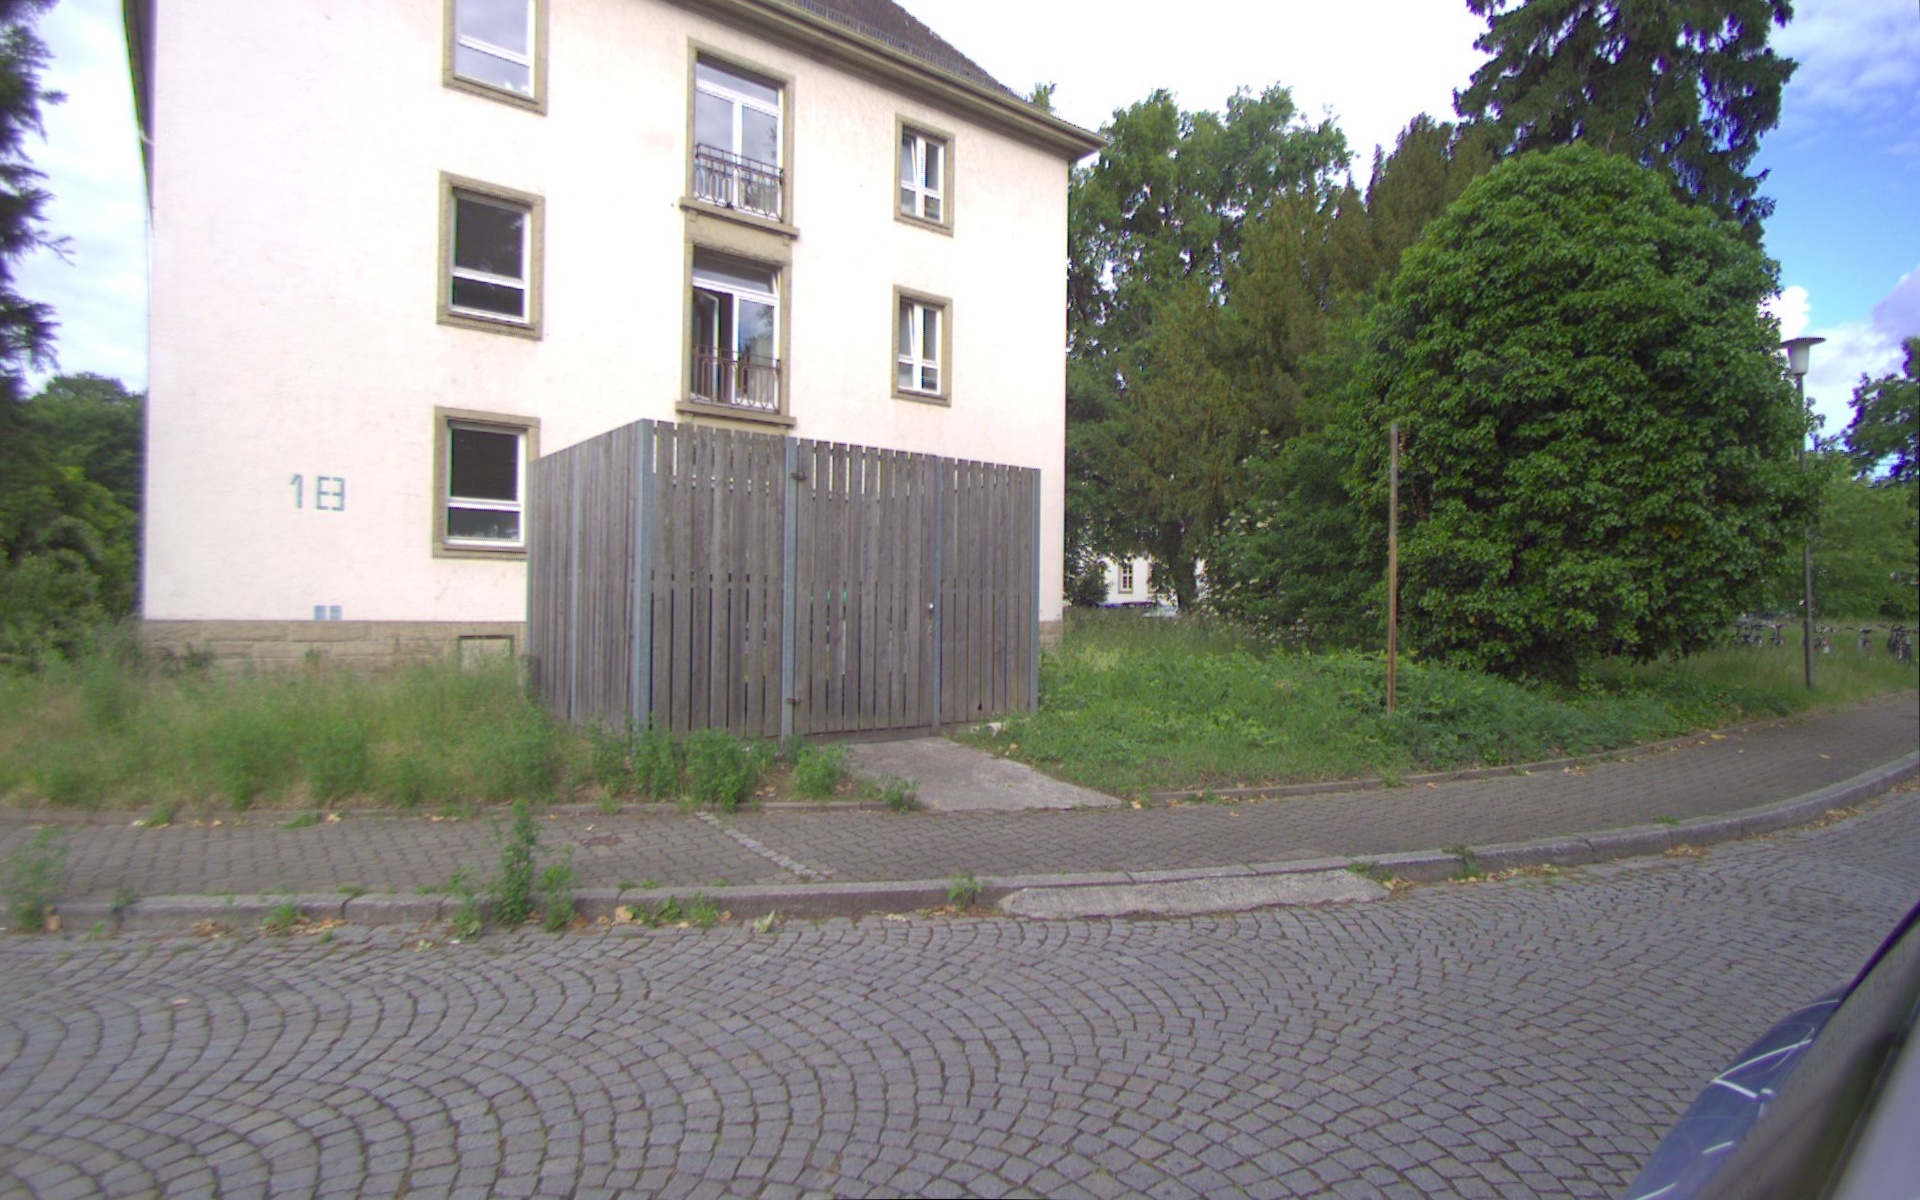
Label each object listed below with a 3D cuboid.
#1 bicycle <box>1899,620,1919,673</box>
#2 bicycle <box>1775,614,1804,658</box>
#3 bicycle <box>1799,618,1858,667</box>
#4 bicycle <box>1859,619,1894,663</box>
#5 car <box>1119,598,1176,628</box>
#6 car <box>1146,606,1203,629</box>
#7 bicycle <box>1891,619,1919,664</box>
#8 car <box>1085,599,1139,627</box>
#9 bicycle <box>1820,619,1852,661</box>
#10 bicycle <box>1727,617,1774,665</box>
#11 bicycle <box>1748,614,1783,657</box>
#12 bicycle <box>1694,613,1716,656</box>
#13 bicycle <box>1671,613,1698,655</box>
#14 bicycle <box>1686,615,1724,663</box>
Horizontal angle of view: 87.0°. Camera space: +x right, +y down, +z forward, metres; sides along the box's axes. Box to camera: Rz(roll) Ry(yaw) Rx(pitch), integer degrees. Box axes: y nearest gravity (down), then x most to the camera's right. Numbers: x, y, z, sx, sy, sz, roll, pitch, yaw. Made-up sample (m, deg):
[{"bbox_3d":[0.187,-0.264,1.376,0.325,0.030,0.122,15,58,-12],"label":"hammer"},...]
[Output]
[{"bbox_3d":[21.522,1.029,22.605,0.548,1.128,1.782,0,-1,34],"label":"bicycle"},{"bbox_3d":[21.930,0.934,26.759,0.475,1.126,1.742,0,-1,36],"label":"bicycle"},{"bbox_3d":[20.281,0.975,23.659,0.612,1.078,1.809,0,0,26],"label":"bicycle"},{"bbox_3d":[23.341,1.027,25.793,0.475,1.020,1.646,0,1,36],"label":"bicycle"},{"bbox_3d":[10.614,0.735,57.296,3.190,1.682,1.439,1,0,-38],"label":"car"},{"bbox_3d":[11.730,0.947,55.258,3.190,1.233,1.296,1,0,-38],"label":"car"},{"bbox_3d":[23.795,1.027,25.371,0.475,1.020,1.646,0,1,36],"label":"bicycle"},{"bbox_3d":[9.065,0.759,60.204,3.190,1.585,1.383,1,0,-38],"label":"car"},{"bbox_3d":[22.811,1.027,26.359,0.475,1.020,1.646,0,1,36],"label":"bicycle"},{"bbox_3d":[19.069,0.969,24.432,0.546,1.078,1.738,0,0,26],"label":"bicycle"},{"bbox_3d":[21.641,0.936,27.212,0.474,1.126,1.746,0,-1,30],"label":"bicycle"},{"bbox_3d":[20.564,0.931,27.945,0.475,1.126,1.742,0,-1,36],"label":"bicycle"},{"bbox_3d":[20.146,0.934,28.121,0.440,1.126,1.627,0,-1,42],"label":"bicycle"},{"bbox_3d":[18.902,0.970,25.678,0.550,1.186,1.726,0,-1,44],"label":"bicycle"}]
